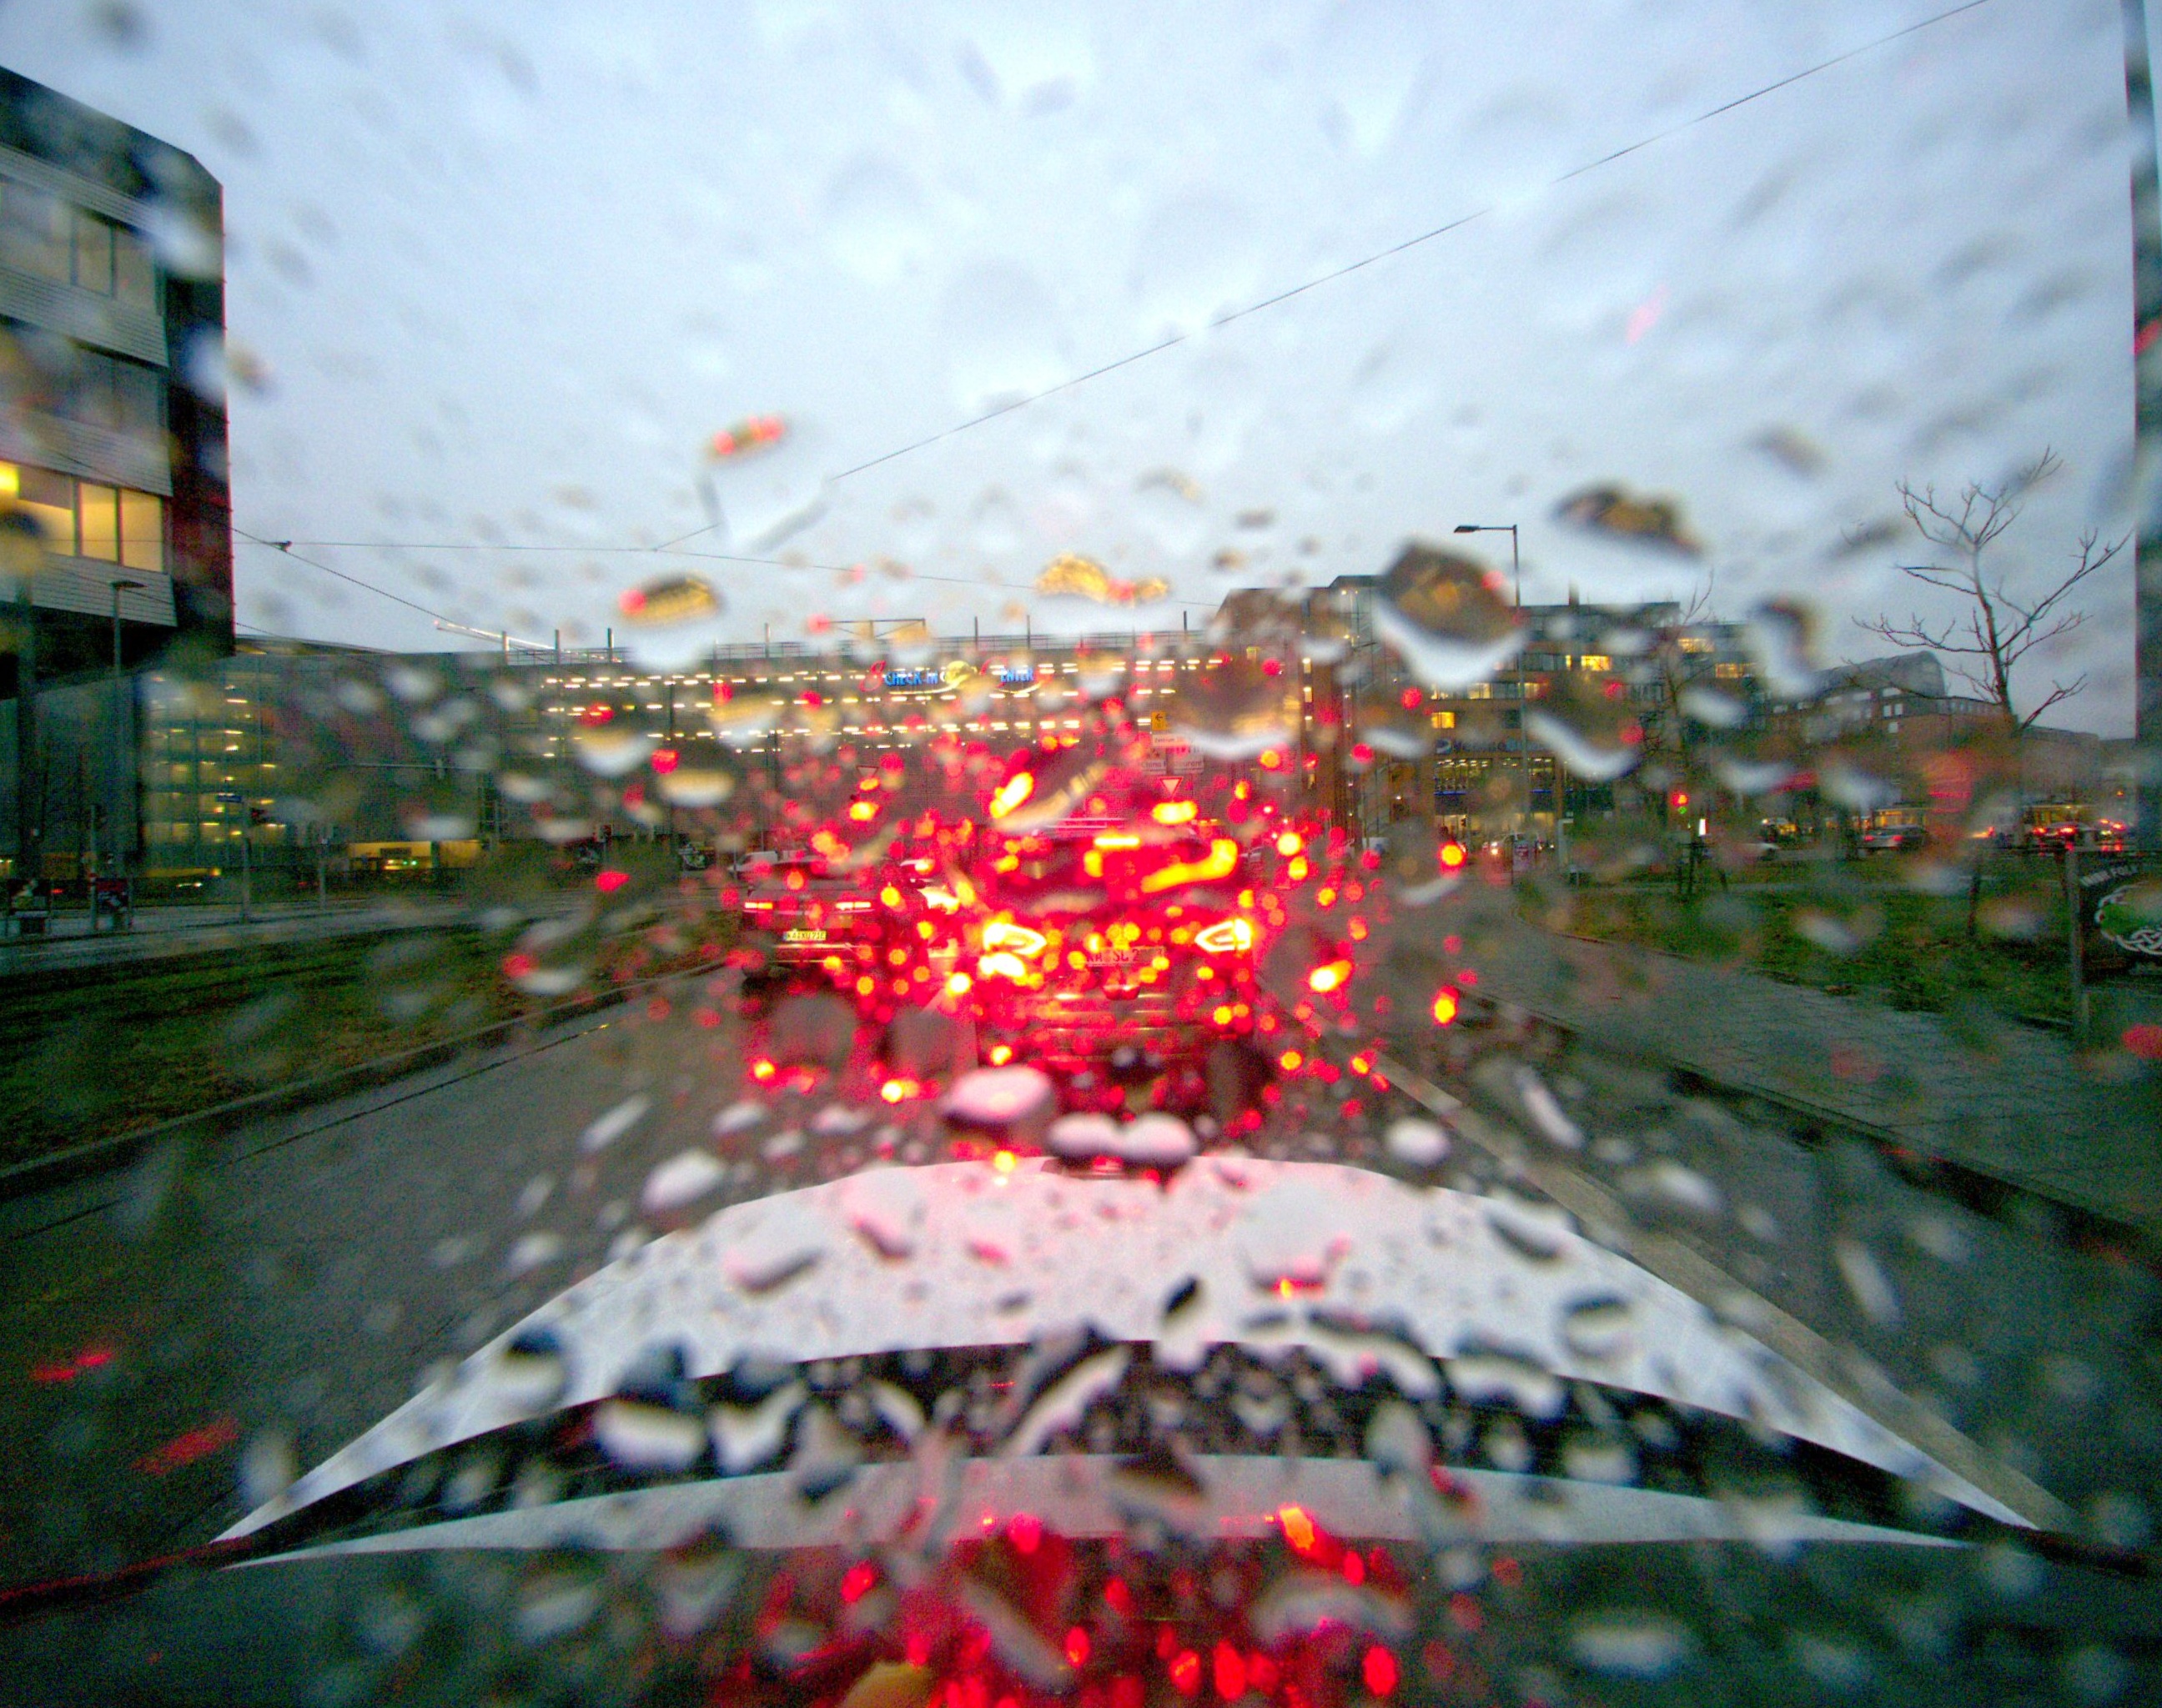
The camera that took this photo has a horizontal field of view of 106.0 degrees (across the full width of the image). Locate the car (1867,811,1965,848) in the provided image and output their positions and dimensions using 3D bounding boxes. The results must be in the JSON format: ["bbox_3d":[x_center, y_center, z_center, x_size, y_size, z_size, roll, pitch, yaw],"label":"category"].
[{"bbox_3d":[47.645,-1.377,46.513,3.987,1.874,1.994,-3,1,-10],"label":"car"}]

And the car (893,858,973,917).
[{"bbox_3d":[-3.483,0.732,19.751,1.538,1.251,4.059,-1,0,-6],"label":"car"}]

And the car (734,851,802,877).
[{"bbox_3d":[-25.884,0.804,67.483,4.831,2.000,1.797,-2,0,-5],"label":"car"}]

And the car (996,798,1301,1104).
[{"bbox_3d":[0.380,0.551,6.783,1.730,1.738,4.246,1,0,0],"label":"car"}]

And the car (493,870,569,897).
[{"bbox_3d":[-45.343,2.439,67.188,4.831,2.000,1.797,-2,0,-5],"label":"car"}]

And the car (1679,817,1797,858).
[{"bbox_3d":[32.905,-0.812,40.843,4.663,1.851,1.828,-2,-1,-6],"label":"car"}]

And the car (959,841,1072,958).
[{"bbox_3d":[-1.036,0.675,13.803,1.632,1.697,3.667,-1,0,-3],"label":"car"}]

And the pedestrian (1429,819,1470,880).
[{"bbox_3d":[11.903,-0.144,26.313,1.159,1.924,0.904,1,0,25],"label":"pedestrian"}]

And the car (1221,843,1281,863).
[{"bbox_3d":[13.834,-0.084,66.336,4.413,1.390,1.796,-2,0,-6],"label":"car"}]

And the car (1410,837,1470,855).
[{"bbox_3d":[29.947,-0.661,67.956,4.209,1.390,1.796,-2,0,-6],"label":"car"}]

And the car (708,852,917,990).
[{"bbox_3d":[-3.583,0.795,11.674,1.748,1.574,3.997,-2,0,-2],"label":"car"}]

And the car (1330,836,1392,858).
[{"bbox_3d":[22.887,-0.582,66.554,4.413,1.595,1.796,-2,0,-6],"label":"car"}]

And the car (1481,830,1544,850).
[{"bbox_3d":[36.391,-1.182,68.706,4.425,1.534,1.796,-2,0,-6],"label":"car"}]

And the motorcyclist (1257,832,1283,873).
[{"bbox_3d":[7.327,-0.070,31.633,0.863,1.534,1.110,-2,0,7],"label":"motorcyclist"}]

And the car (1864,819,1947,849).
[{"bbox_3d":[55.987,-1.349,55.321,3.985,2.013,1.994,0,0,-9],"label":"car"}]

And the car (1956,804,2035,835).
[{"bbox_3d":[64.380,-2.411,57.330,4.948,2.013,1.987,0,0,-20],"label":"car"}]

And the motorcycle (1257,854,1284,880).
[{"bbox_3d":[7.338,0.498,31.616,0.848,0.972,1.585,-2,0,7],"label":"motorcycle"}]

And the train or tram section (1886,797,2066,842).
[{"bbox_3d":[73.812,-2.839,67.073,16.626,3.260,2.326,-2,0,-14],"label":"train or tram section"}]
